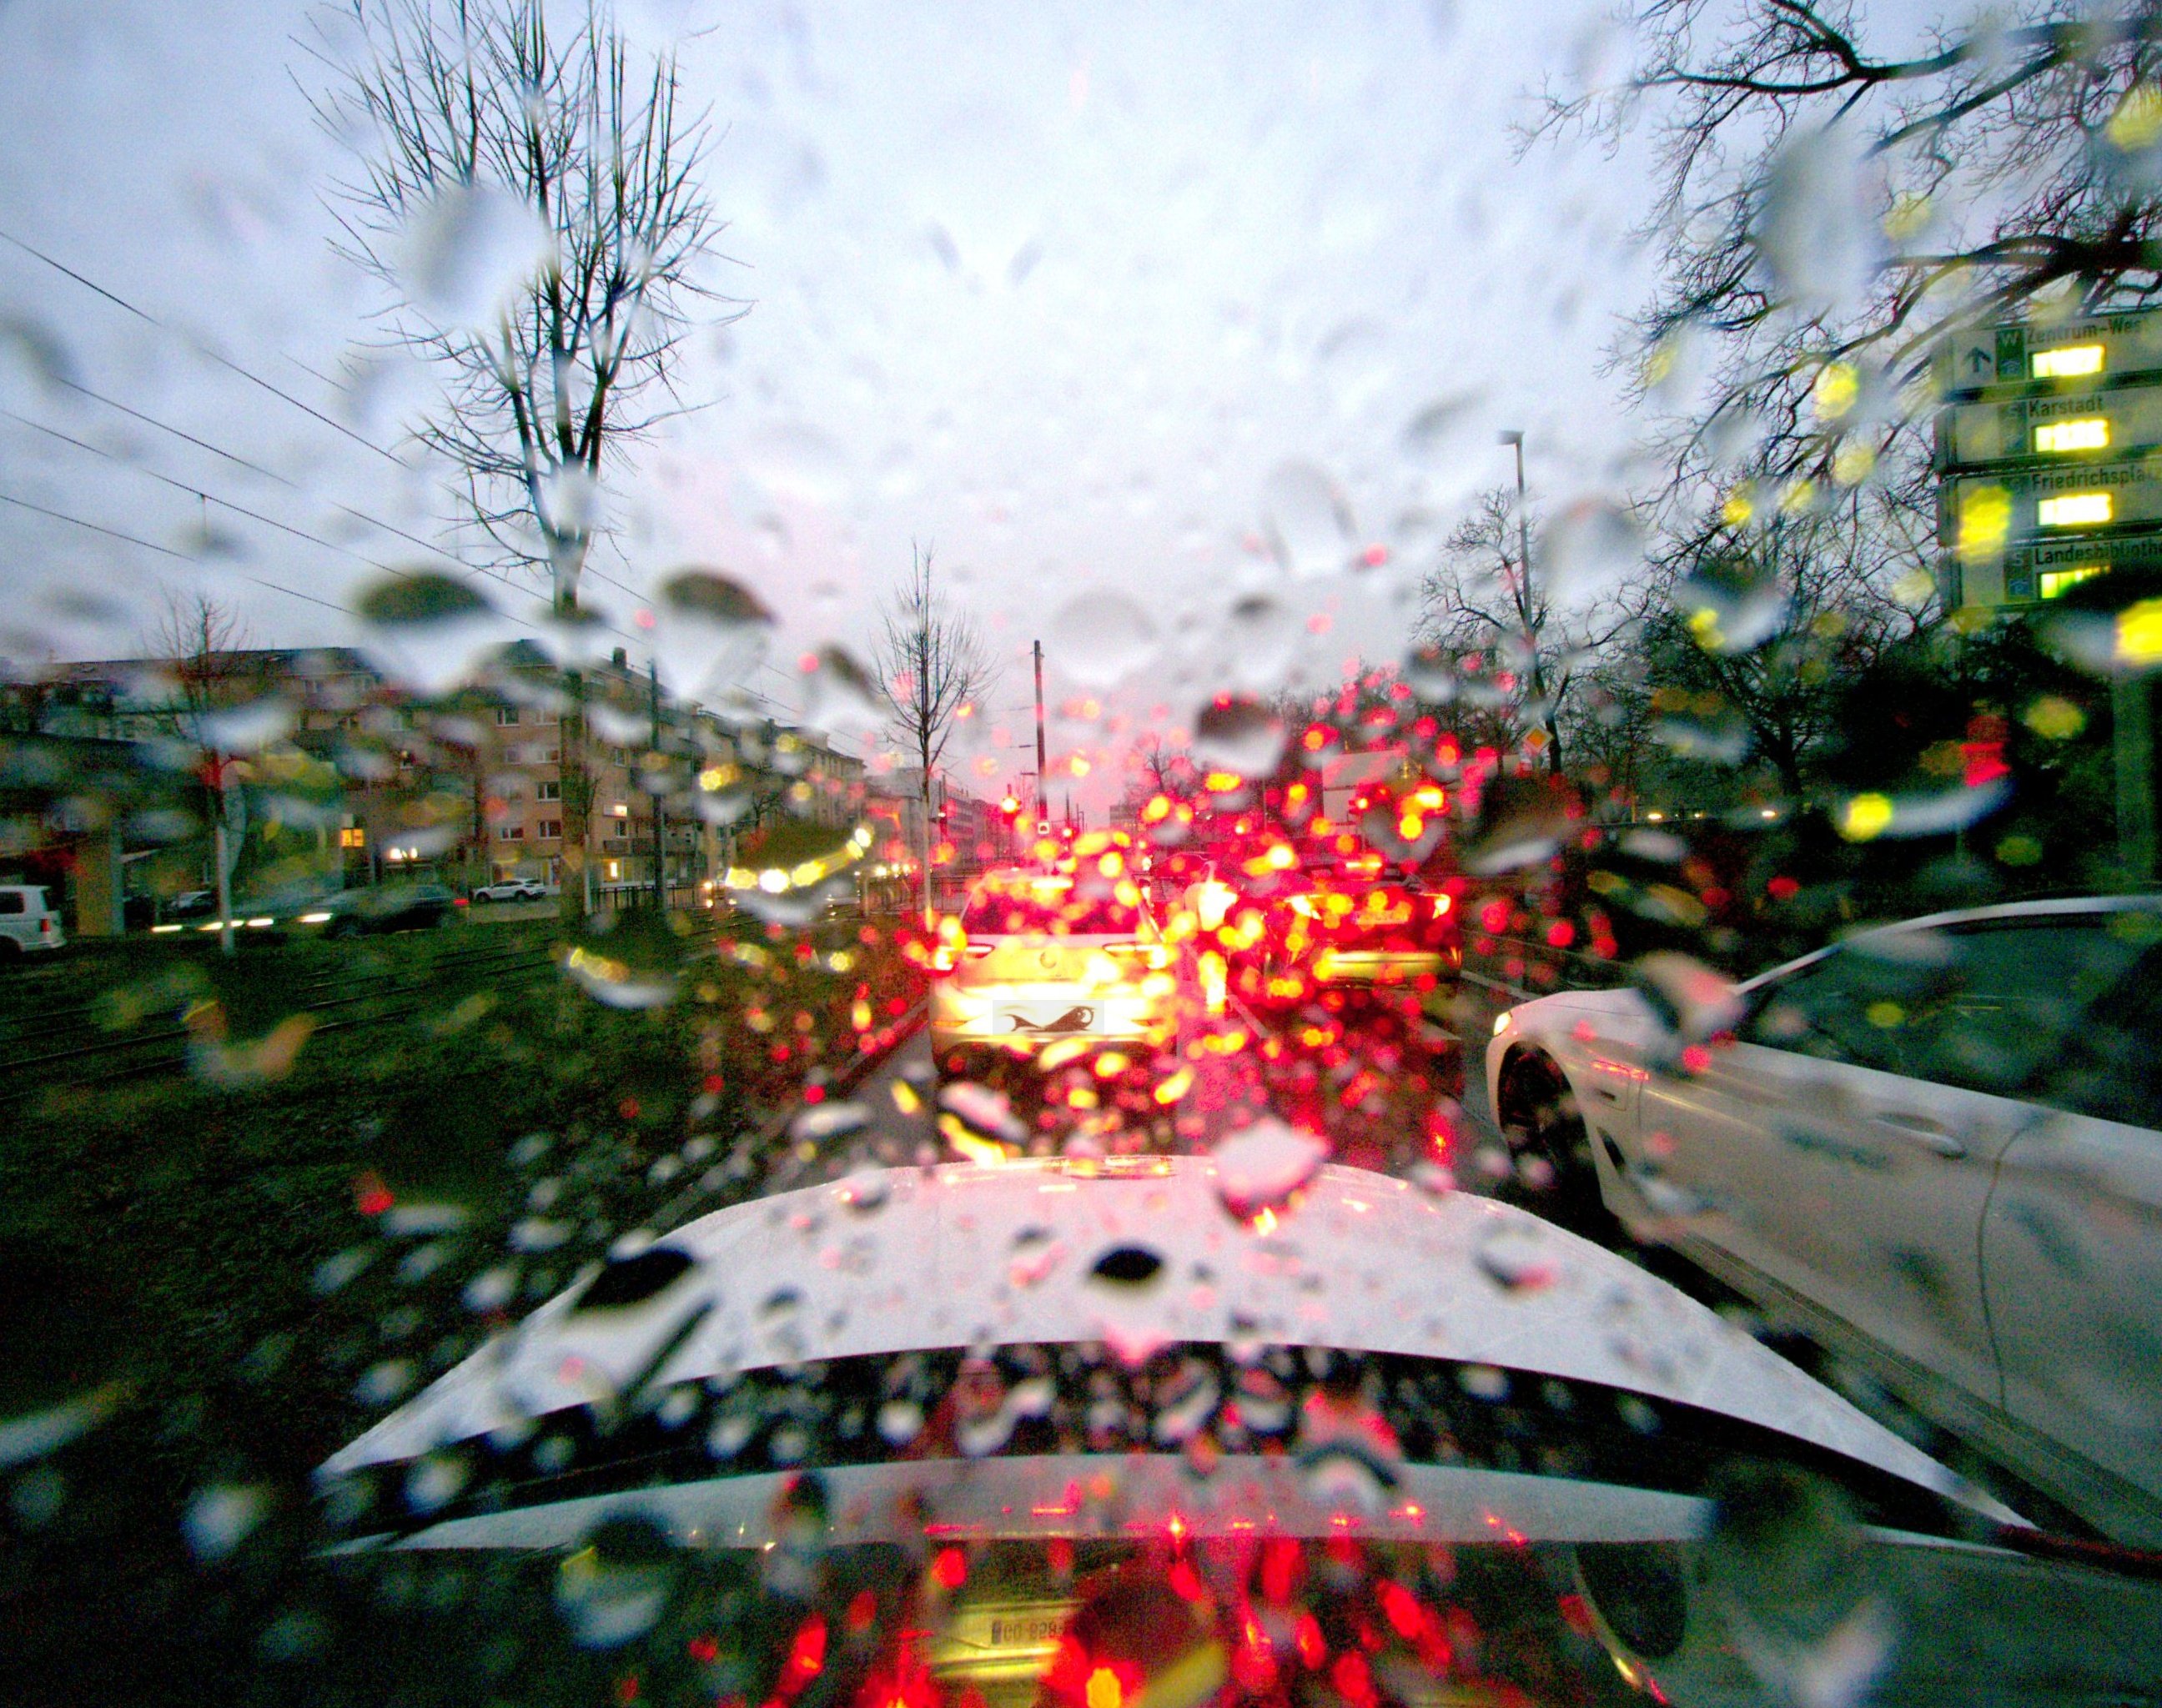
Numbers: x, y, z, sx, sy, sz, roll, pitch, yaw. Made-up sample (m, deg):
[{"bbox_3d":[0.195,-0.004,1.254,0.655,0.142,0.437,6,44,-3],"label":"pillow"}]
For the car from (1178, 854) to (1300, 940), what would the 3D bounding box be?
[{"bbox_3d":[2.857,0.723,15.462,1.738,1.433,3.733,0,0,2],"label":"car"}]

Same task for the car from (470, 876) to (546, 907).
[{"bbox_3d":[-38.661,2.512,54.991,3.743,1.942,1.838,0,0,-6],"label":"car"}]

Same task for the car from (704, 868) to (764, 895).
[{"bbox_3d":[-18.793,1.458,44.267,1.688,1.277,4.142,-2,0,-4],"label":"car"}]

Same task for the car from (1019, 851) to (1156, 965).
[{"bbox_3d":[0.168,0.722,13.256,1.792,1.466,4.588,-2,0,2],"label":"car"}]

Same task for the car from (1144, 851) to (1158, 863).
[{"bbox_3d":[9.239,0.395,107.714,1.731,1.419,3.705,-2,0,2],"label":"car"}]

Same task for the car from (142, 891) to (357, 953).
[{"bbox_3d":[-22.838,1.803,22.630,1.853,1.332,3.999,-2,0,0],"label":"car"}]

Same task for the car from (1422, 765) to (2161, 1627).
[{"bbox_3d":[2.847,0.583,1.990,1.857,1.556,4.936,-2,0,-1],"label":"car"}]

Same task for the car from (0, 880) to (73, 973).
[{"bbox_3d":[-28.641,1.831,19.865,4.859,2.244,1.975,0,-1,-44],"label":"car"}]

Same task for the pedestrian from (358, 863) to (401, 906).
[{"bbox_3d":[-33.817,1.446,39.275,1.274,2.013,1.000,-2,0,-22],"label":"pedestrian"}]

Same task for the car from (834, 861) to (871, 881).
[{"bbox_3d":[-19.540,1.429,69.768,1.942,1.602,4.002,0,0,2],"label":"car"}]

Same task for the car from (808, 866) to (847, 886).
[{"bbox_3d":[-21.736,1.867,70.084,1.942,1.602,4.002,0,0,2],"label":"car"}]

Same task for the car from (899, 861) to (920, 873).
[{"bbox_3d":[-23.911,1.791,113.908,1.942,1.602,4.002,0,0,2],"label":"car"}]

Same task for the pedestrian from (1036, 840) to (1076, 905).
[{"bbox_3d":[-0.807,0.588,26.225,0.962,2.013,1.001,-2,0,-21],"label":"pedestrian"}]

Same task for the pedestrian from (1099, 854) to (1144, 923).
[{"bbox_3d":[1.228,1.019,24.636,0.950,2.013,1.013,-2,0,26],"label":"pedestrian"}]

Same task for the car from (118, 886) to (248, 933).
[{"bbox_3d":[-43.081,2.629,39.213,1.886,2.014,3.876,0,0,2],"label":"car"}]

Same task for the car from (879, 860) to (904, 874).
[{"bbox_3d":[-23.164,1.566,99.744,1.942,1.602,4.002,0,0,2],"label":"car"}]

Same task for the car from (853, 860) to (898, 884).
[{"bbox_3d":[-14.003,1.188,55.686,1.986,1.602,4.001,0,0,1],"label":"car"}]

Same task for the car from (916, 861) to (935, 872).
[{"bbox_3d":[-23.388,1.859,122.842,1.942,1.602,4.002,0,0,2],"label":"car"}]

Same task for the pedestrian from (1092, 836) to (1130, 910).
[{"bbox_3d":[0.861,0.523,23.149,0.954,2.013,1.009,-2,0,4],"label":"pedestrian"}]

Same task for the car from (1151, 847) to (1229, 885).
[{"bbox_3d":[5.827,0.607,43.947,2.006,1.943,4.244,0,0,-31],"label":"car"}]

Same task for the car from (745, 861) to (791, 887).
[{"bbox_3d":[-24.962,1.587,65.084,1.986,2.014,4.001,0,0,1],"label":"car"}]

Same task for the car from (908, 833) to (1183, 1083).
[{"bbox_3d":[-0.164,0.639,7.065,1.687,1.533,4.001,-1,0,2],"label":"car"}]

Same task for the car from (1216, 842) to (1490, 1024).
[{"bbox_3d":[2.663,0.684,8.959,1.793,1.511,3.897,-2,0,2],"label":"car"}]

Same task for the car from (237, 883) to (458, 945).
[{"bbox_3d":[-19.123,1.500,21.554,1.852,1.332,4.317,0,0,2],"label":"car"}]

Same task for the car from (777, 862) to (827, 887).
[{"bbox_3d":[-18.905,1.368,55.431,1.860,1.577,4.002,-2,0,2],"label":"car"}]
